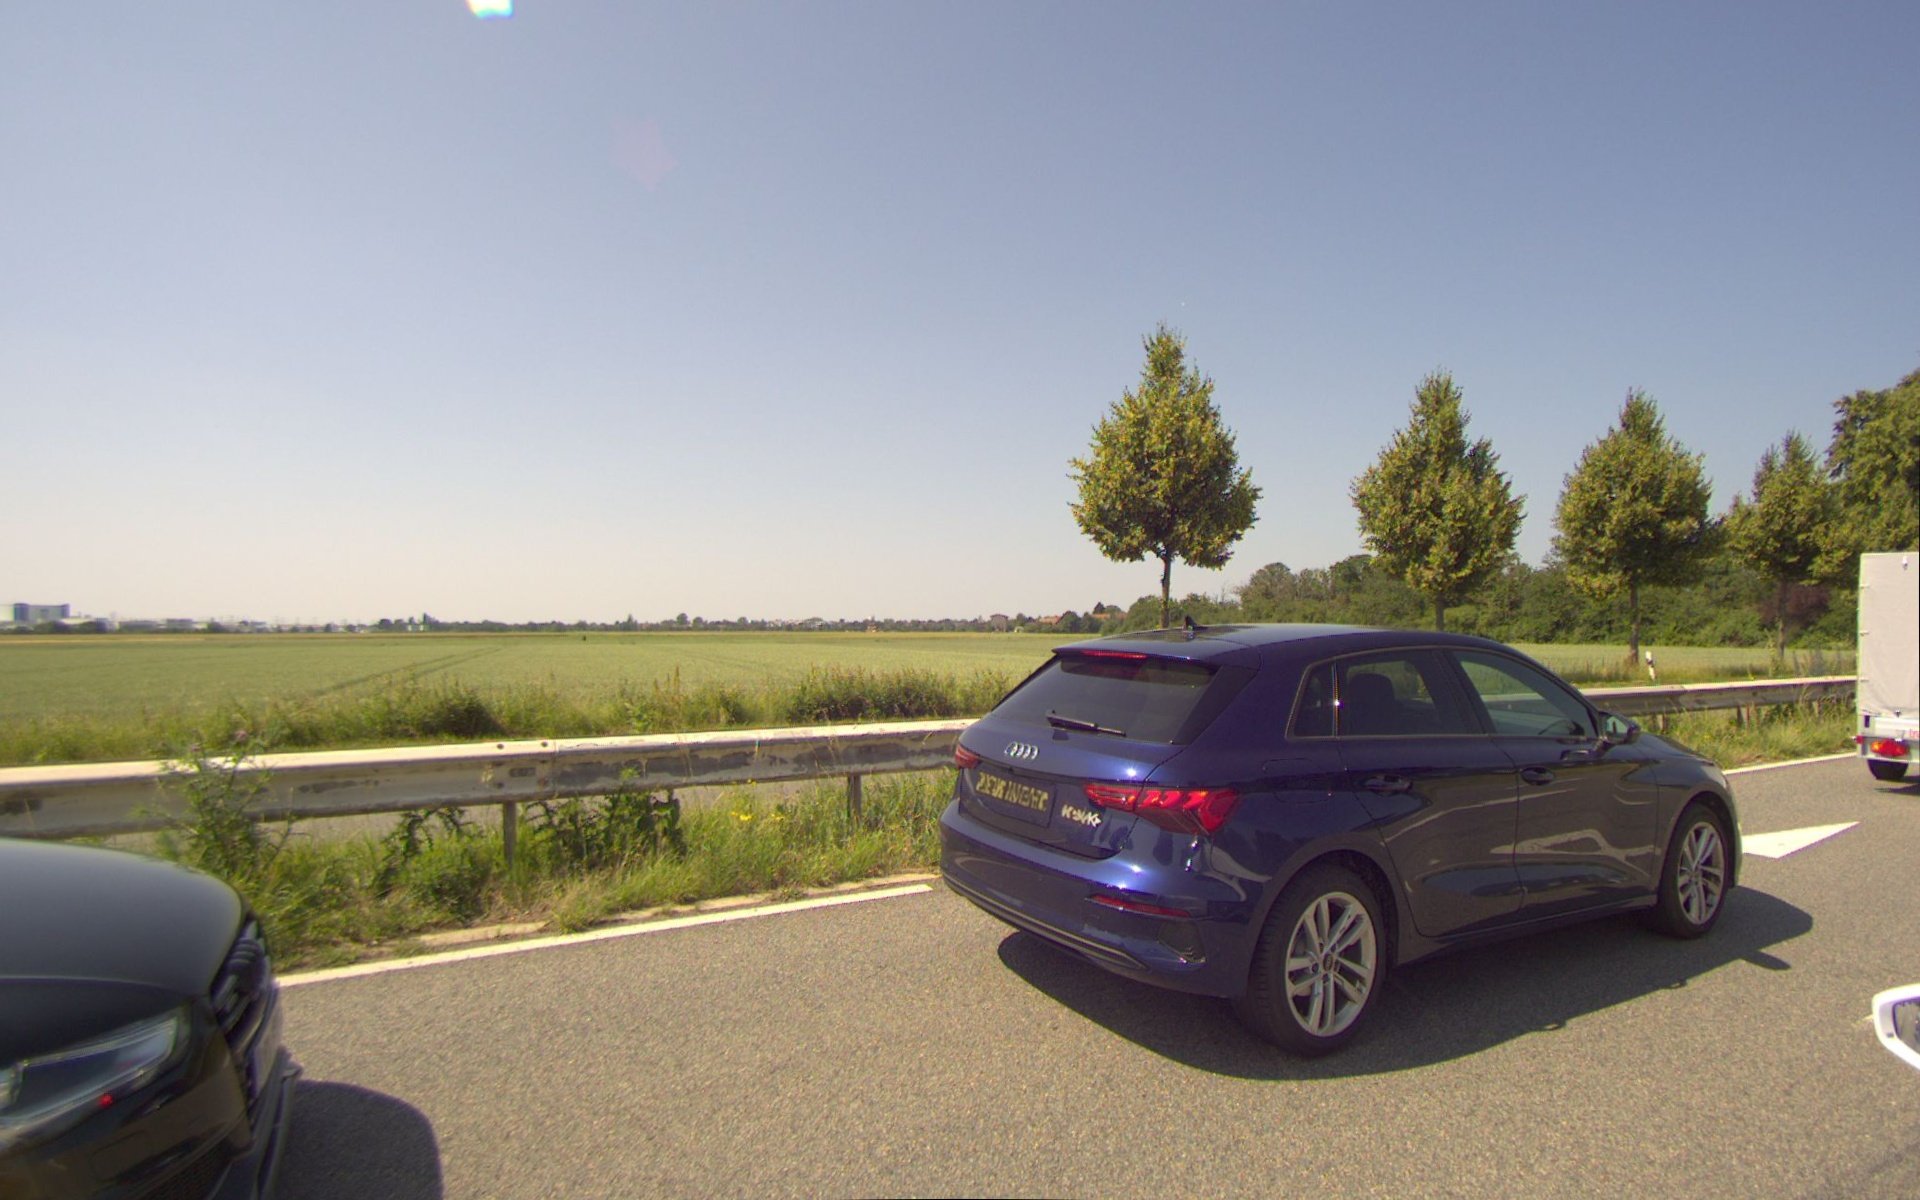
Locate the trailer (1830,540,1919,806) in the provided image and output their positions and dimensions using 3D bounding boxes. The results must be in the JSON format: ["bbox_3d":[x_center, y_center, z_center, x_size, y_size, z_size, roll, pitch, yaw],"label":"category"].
[{"bbox_3d":[9.798,0.633,9.230,4.125,2.202,1.493,1,0,-30],"label":"trailer"}]

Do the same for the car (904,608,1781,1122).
[{"bbox_3d":[1.897,0.807,4.682,3.982,1.484,1.709,1,0,-30],"label":"car"}]

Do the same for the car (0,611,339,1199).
[{"bbox_3d":[-3.502,0.713,1.381,4.402,1.399,1.732,1,0,-30],"label":"car"}]
